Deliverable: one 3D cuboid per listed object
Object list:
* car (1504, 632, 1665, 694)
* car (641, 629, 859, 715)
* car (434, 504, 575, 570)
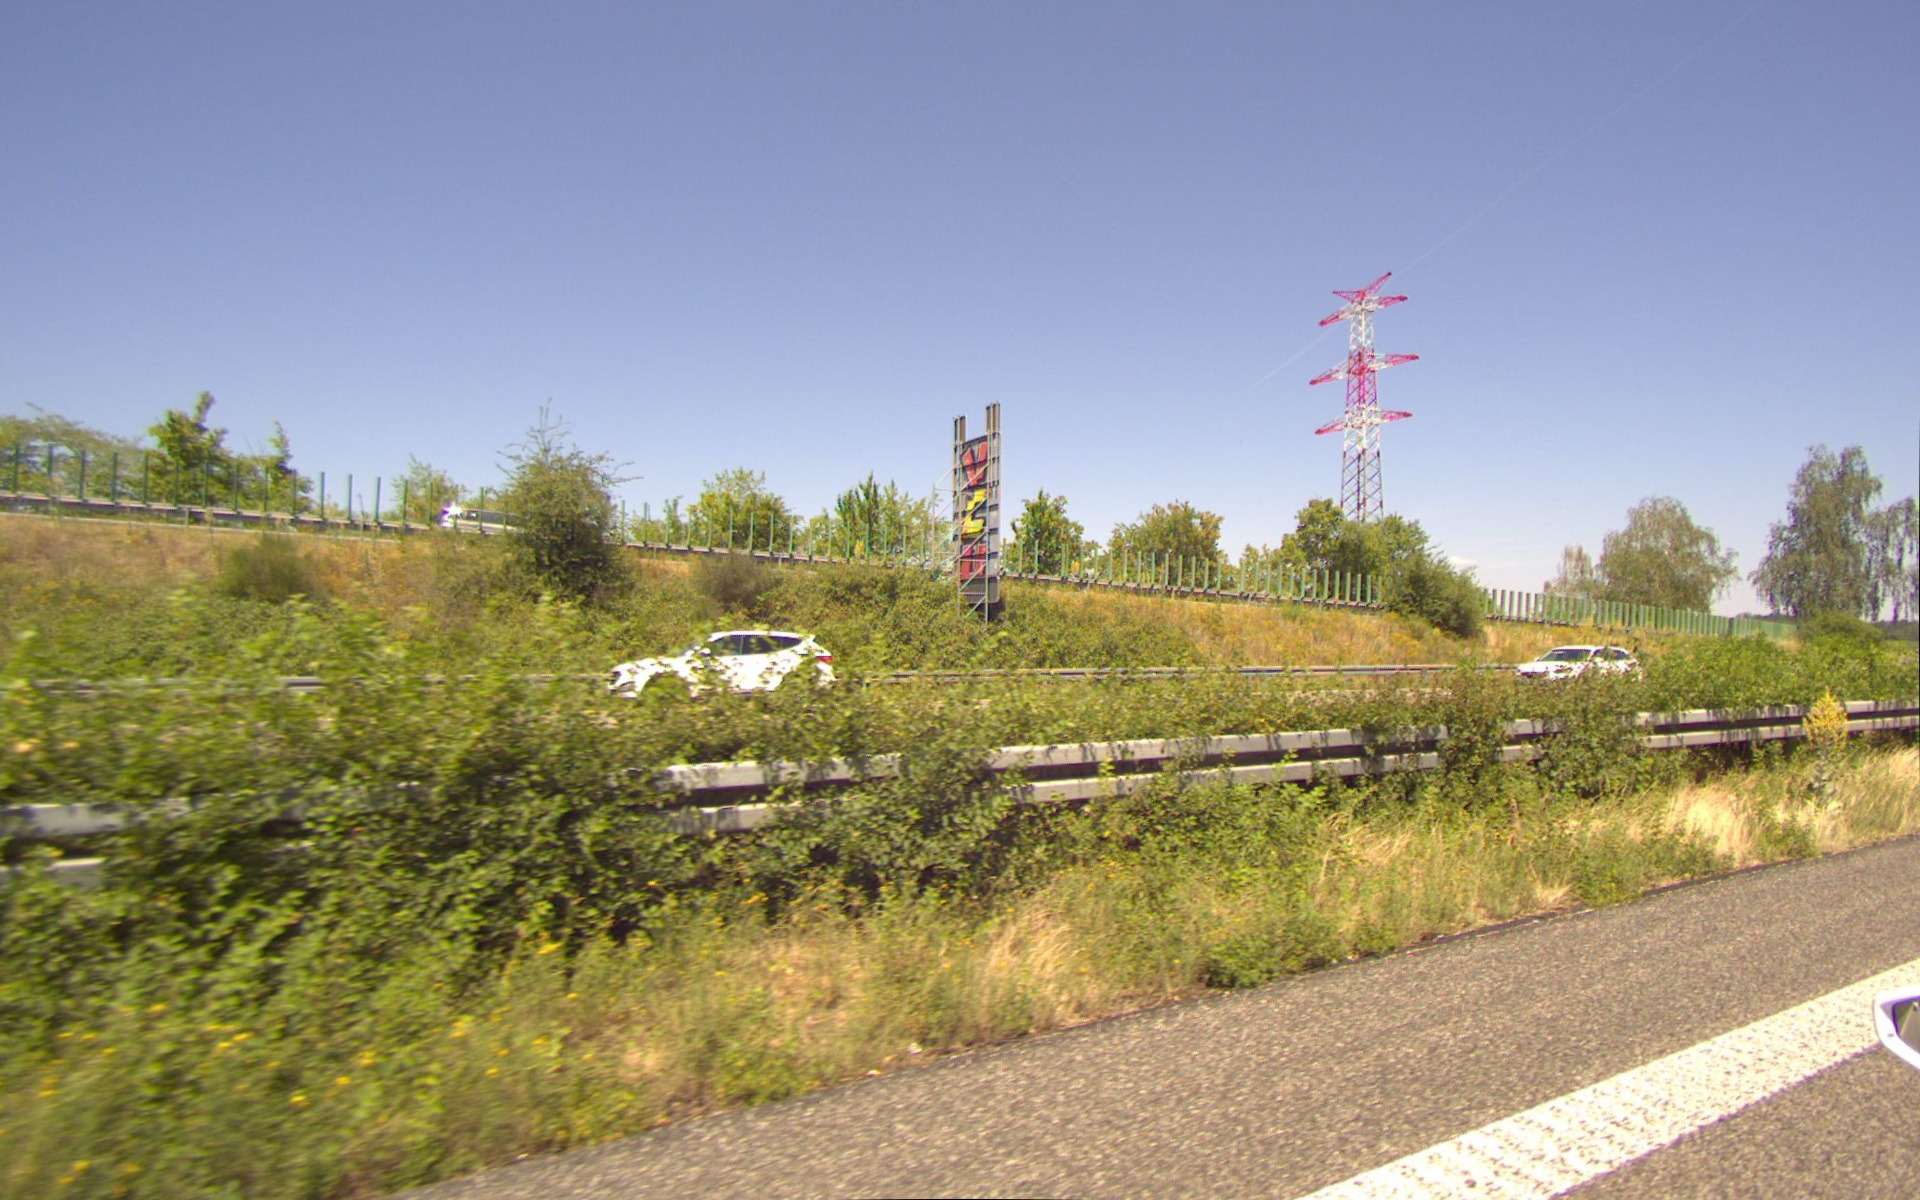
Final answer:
[{"bbox_3d":[18.573,1.824,29.779,5.436,1.705,1.822,2,-2,-31],"label":"car"},{"bbox_3d":[-4.321,1.434,20.839,4.103,1.617,1.755,2,-2,-31],"label":"car"},{"bbox_3d":[-14.507,-1.970,32.165,3.945,1.818,1.717,2,0,-24],"label":"car"}]
